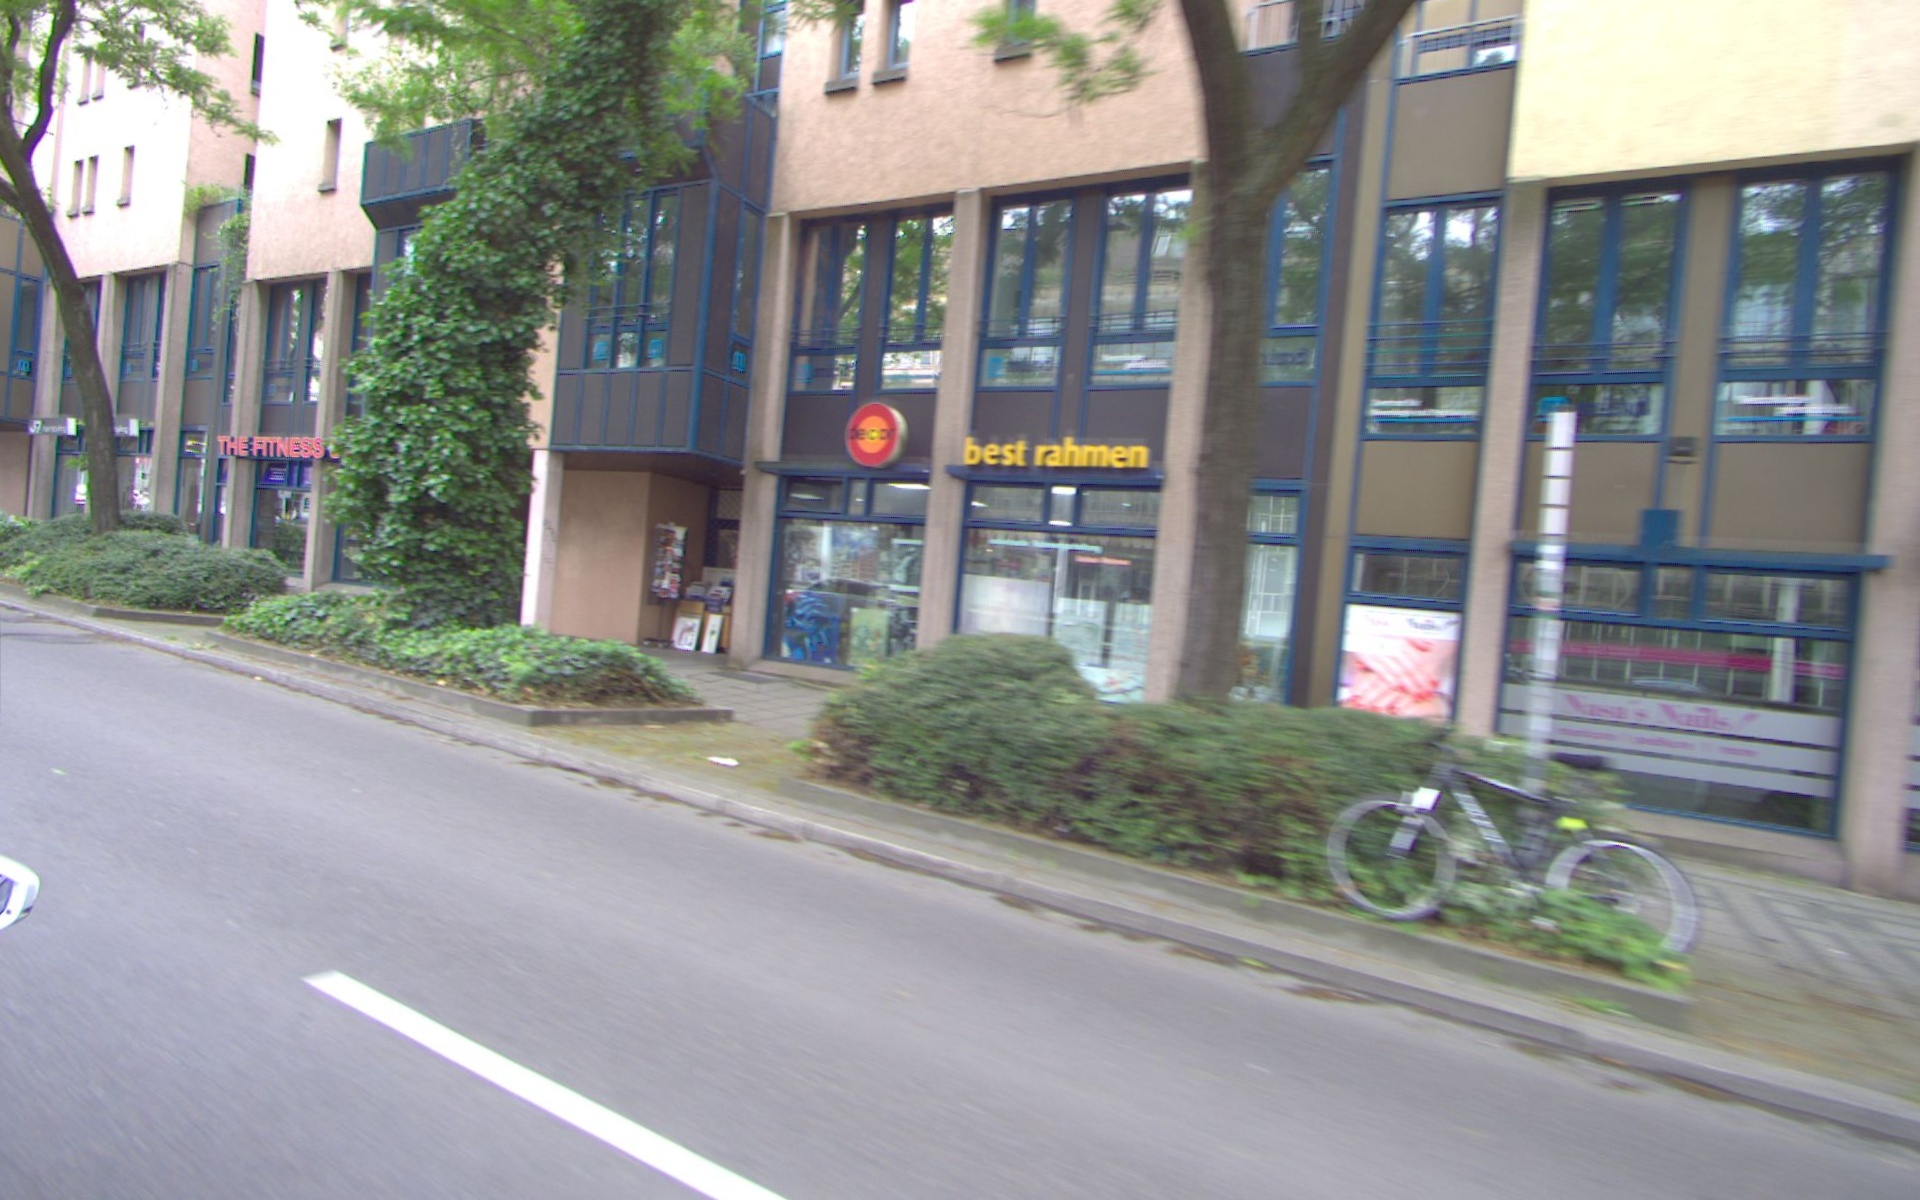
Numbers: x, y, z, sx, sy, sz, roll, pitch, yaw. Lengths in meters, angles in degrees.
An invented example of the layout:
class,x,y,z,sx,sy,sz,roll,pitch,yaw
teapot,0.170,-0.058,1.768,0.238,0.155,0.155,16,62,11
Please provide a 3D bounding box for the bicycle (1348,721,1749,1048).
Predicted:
class,x,y,z,sx,sy,sz,roll,pitch,yaw
bicycle,2.814,1.336,4.965,1.541,1.217,0.362,7,1,21
